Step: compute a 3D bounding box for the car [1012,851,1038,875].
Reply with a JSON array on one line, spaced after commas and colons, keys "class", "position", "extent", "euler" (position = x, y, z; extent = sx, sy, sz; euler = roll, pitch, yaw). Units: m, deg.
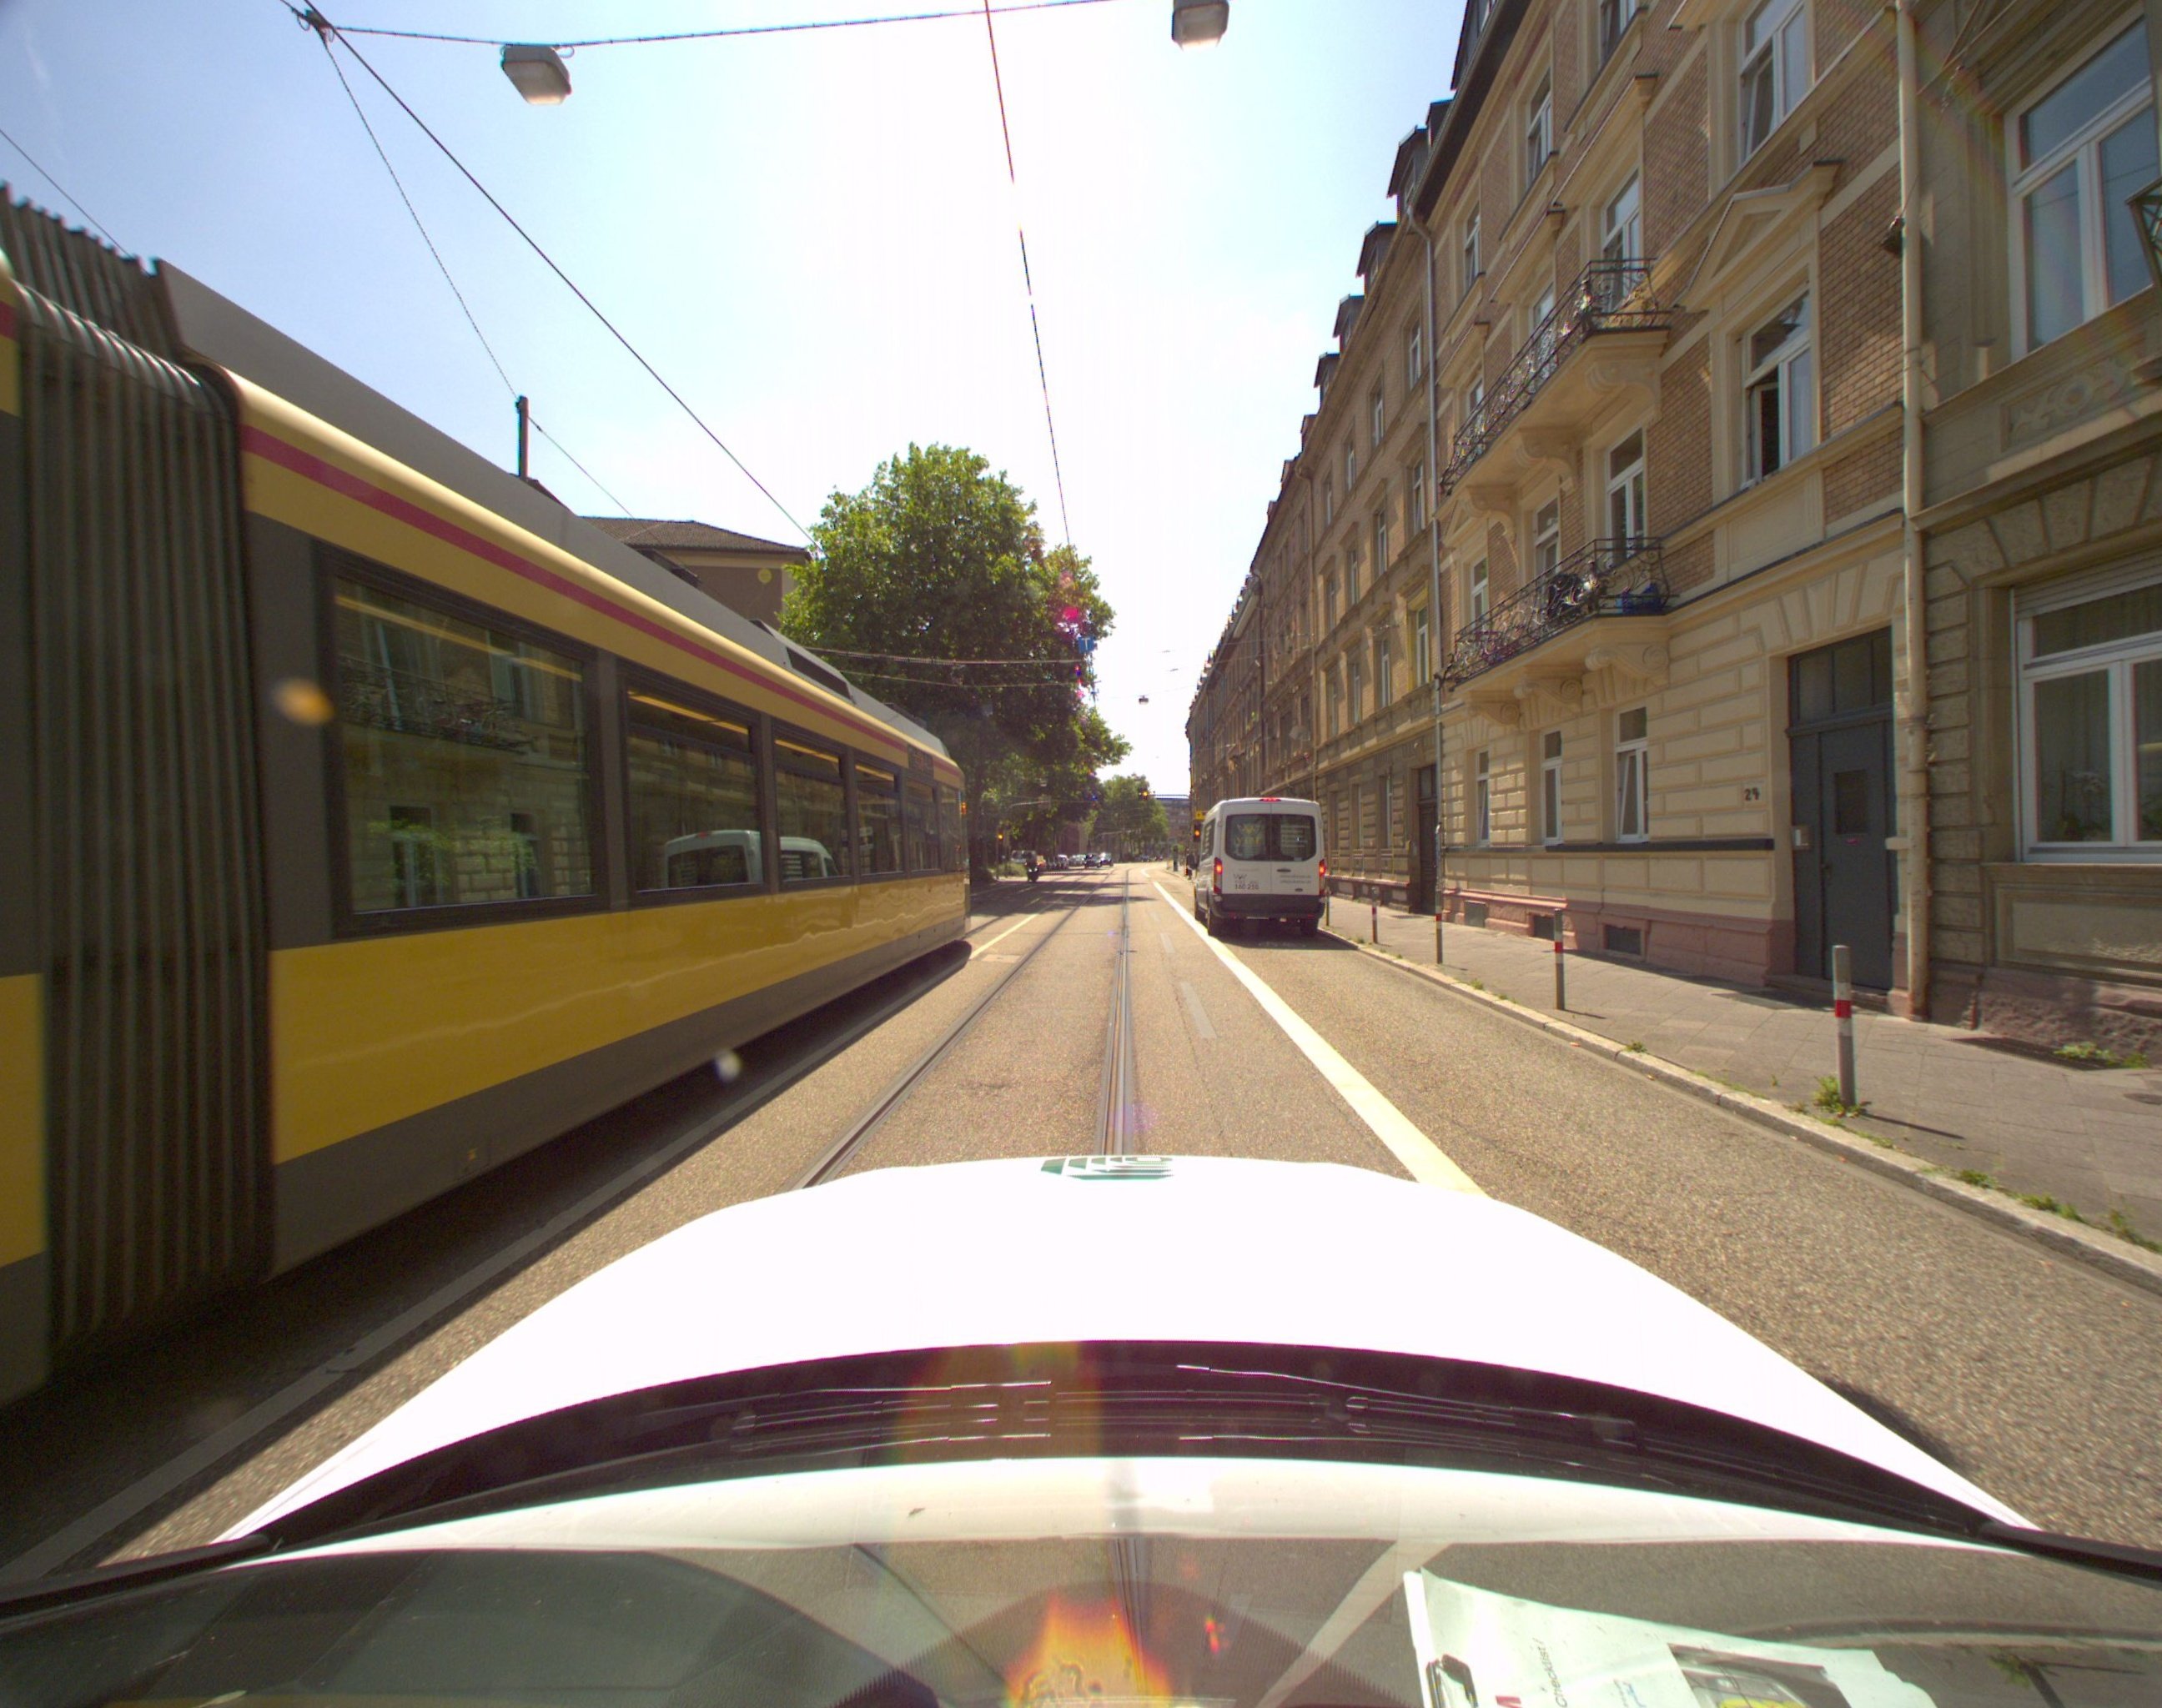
[{"class": "car", "position": [-4.622, 0.735, 67.438], "extent": [1.794, 1.923, 4.001], "euler": [0, 0, 1]}]

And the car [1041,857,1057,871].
[{"class": "car", "position": [-3.449, 1.060, 88.070], "extent": [1.449, 1.496, 3.663], "euler": [0, 0, 1]}]

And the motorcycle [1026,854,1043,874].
[{"class": "motorcycle", "position": [-2.613, 0.580, 46.004], "extent": [0.947, 1.114, 1.600], "euler": [0, 0, -4]}]

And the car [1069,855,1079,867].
[{"class": "car", "position": [-1.011, 1.034, 122.373], "extent": [1.449, 1.731, 3.194], "euler": [0, 0, 1]}]

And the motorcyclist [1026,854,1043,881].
[{"class": "motorcyclist", "position": [-2.637, 0.752, 46.317], "extent": [0.939, 1.532, 0.500], "euler": [0, 0, -5]}]

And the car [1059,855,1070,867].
[{"class": "car", "position": [-2.383, 1.045, 116.816], "extent": [1.449, 1.731, 3.194], "euler": [0, 0, 1]}]

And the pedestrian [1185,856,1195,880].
[{"class": "pedestrian", "position": [6.998, 0.882, 52.285], "extent": [0.616, 1.539, 0.464], "euler": [0, 0, 1]}]

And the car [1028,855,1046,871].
[{"class": "car", "position": [-4.172, 0.823, 77.665], "extent": [1.449, 1.496, 3.663], "euler": [0, 0, 1]}]

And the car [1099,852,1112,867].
[{"class": "car", "position": [3.230, 0.722, 107.569], "extent": [1.668, 1.860, 4.000], "euler": [0, 0, 1]}]

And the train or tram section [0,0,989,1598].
[{"class": "train or tram section", "position": [-3.479, -0.185, 7.884], "extent": [2.948, 3.580, 13.433], "euler": [-1, 0, 3]}]

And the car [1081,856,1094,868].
[{"class": "car", "position": [0.812, 0.943, 99.919], "extent": [1.523, 1.408, 3.490], "euler": [0, 0, 1]}]

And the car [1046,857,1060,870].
[{"class": "car", "position": [-3.206, 1.074, 93.952], "extent": [1.449, 1.496, 3.663], "euler": [0, 0, 1]}]

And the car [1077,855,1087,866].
[{"class": "car", "position": [0.126, 1.041, 127.295], "extent": [1.449, 1.731, 3.194], "euler": [0, 0, 1]}]

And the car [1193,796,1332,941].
[{"class": "car", "position": [3.493, 0.246, 16.750], "extent": [2.058, 2.501, 5.460], "euler": [0, 0, 4]}]
